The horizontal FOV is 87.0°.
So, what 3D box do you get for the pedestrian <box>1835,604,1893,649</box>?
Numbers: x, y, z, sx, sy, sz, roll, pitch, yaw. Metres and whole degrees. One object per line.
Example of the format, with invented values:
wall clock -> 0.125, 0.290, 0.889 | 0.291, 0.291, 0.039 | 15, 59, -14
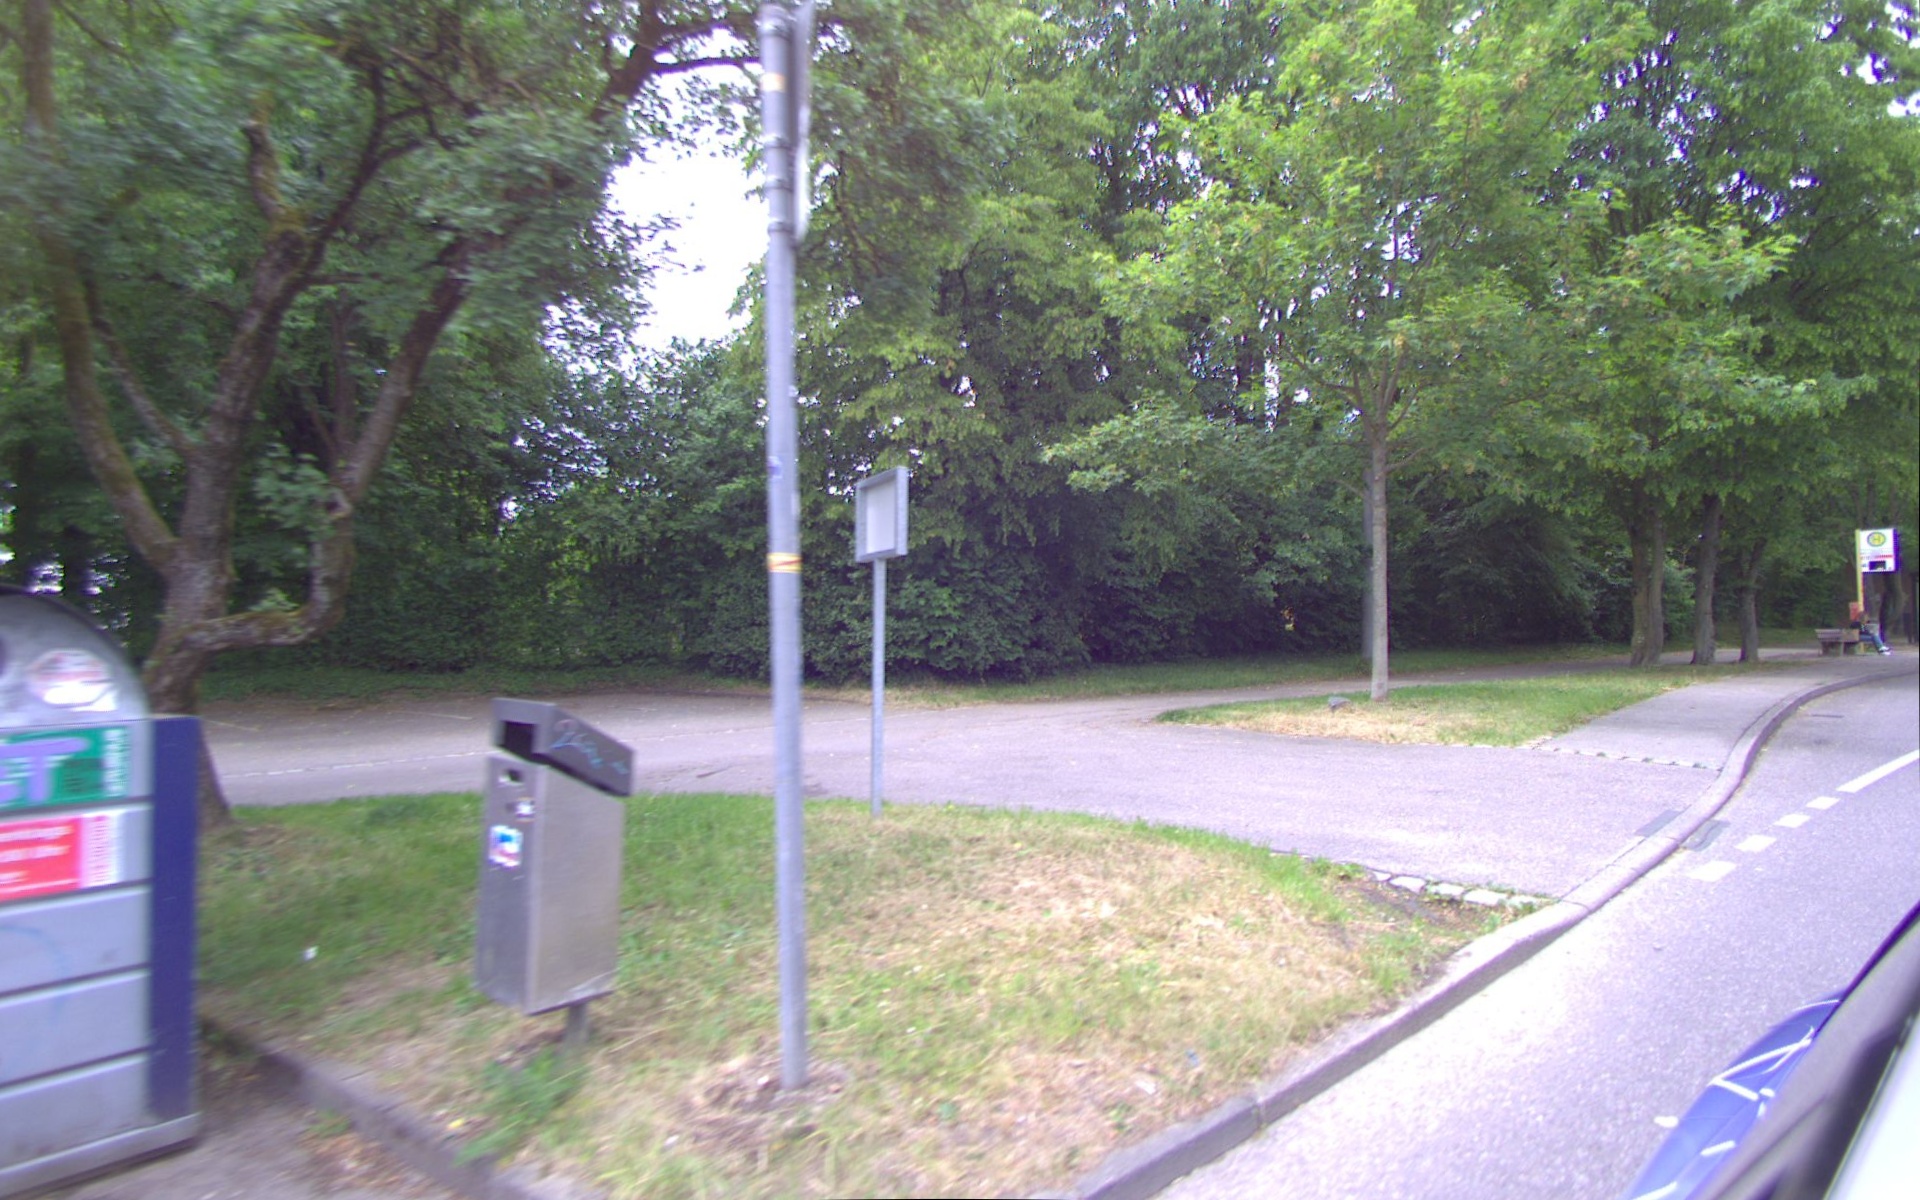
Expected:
pedestrian -> 24.730, 0.725, 27.690 | 0.569, 1.197, 1.067 | 0, -1, -35
